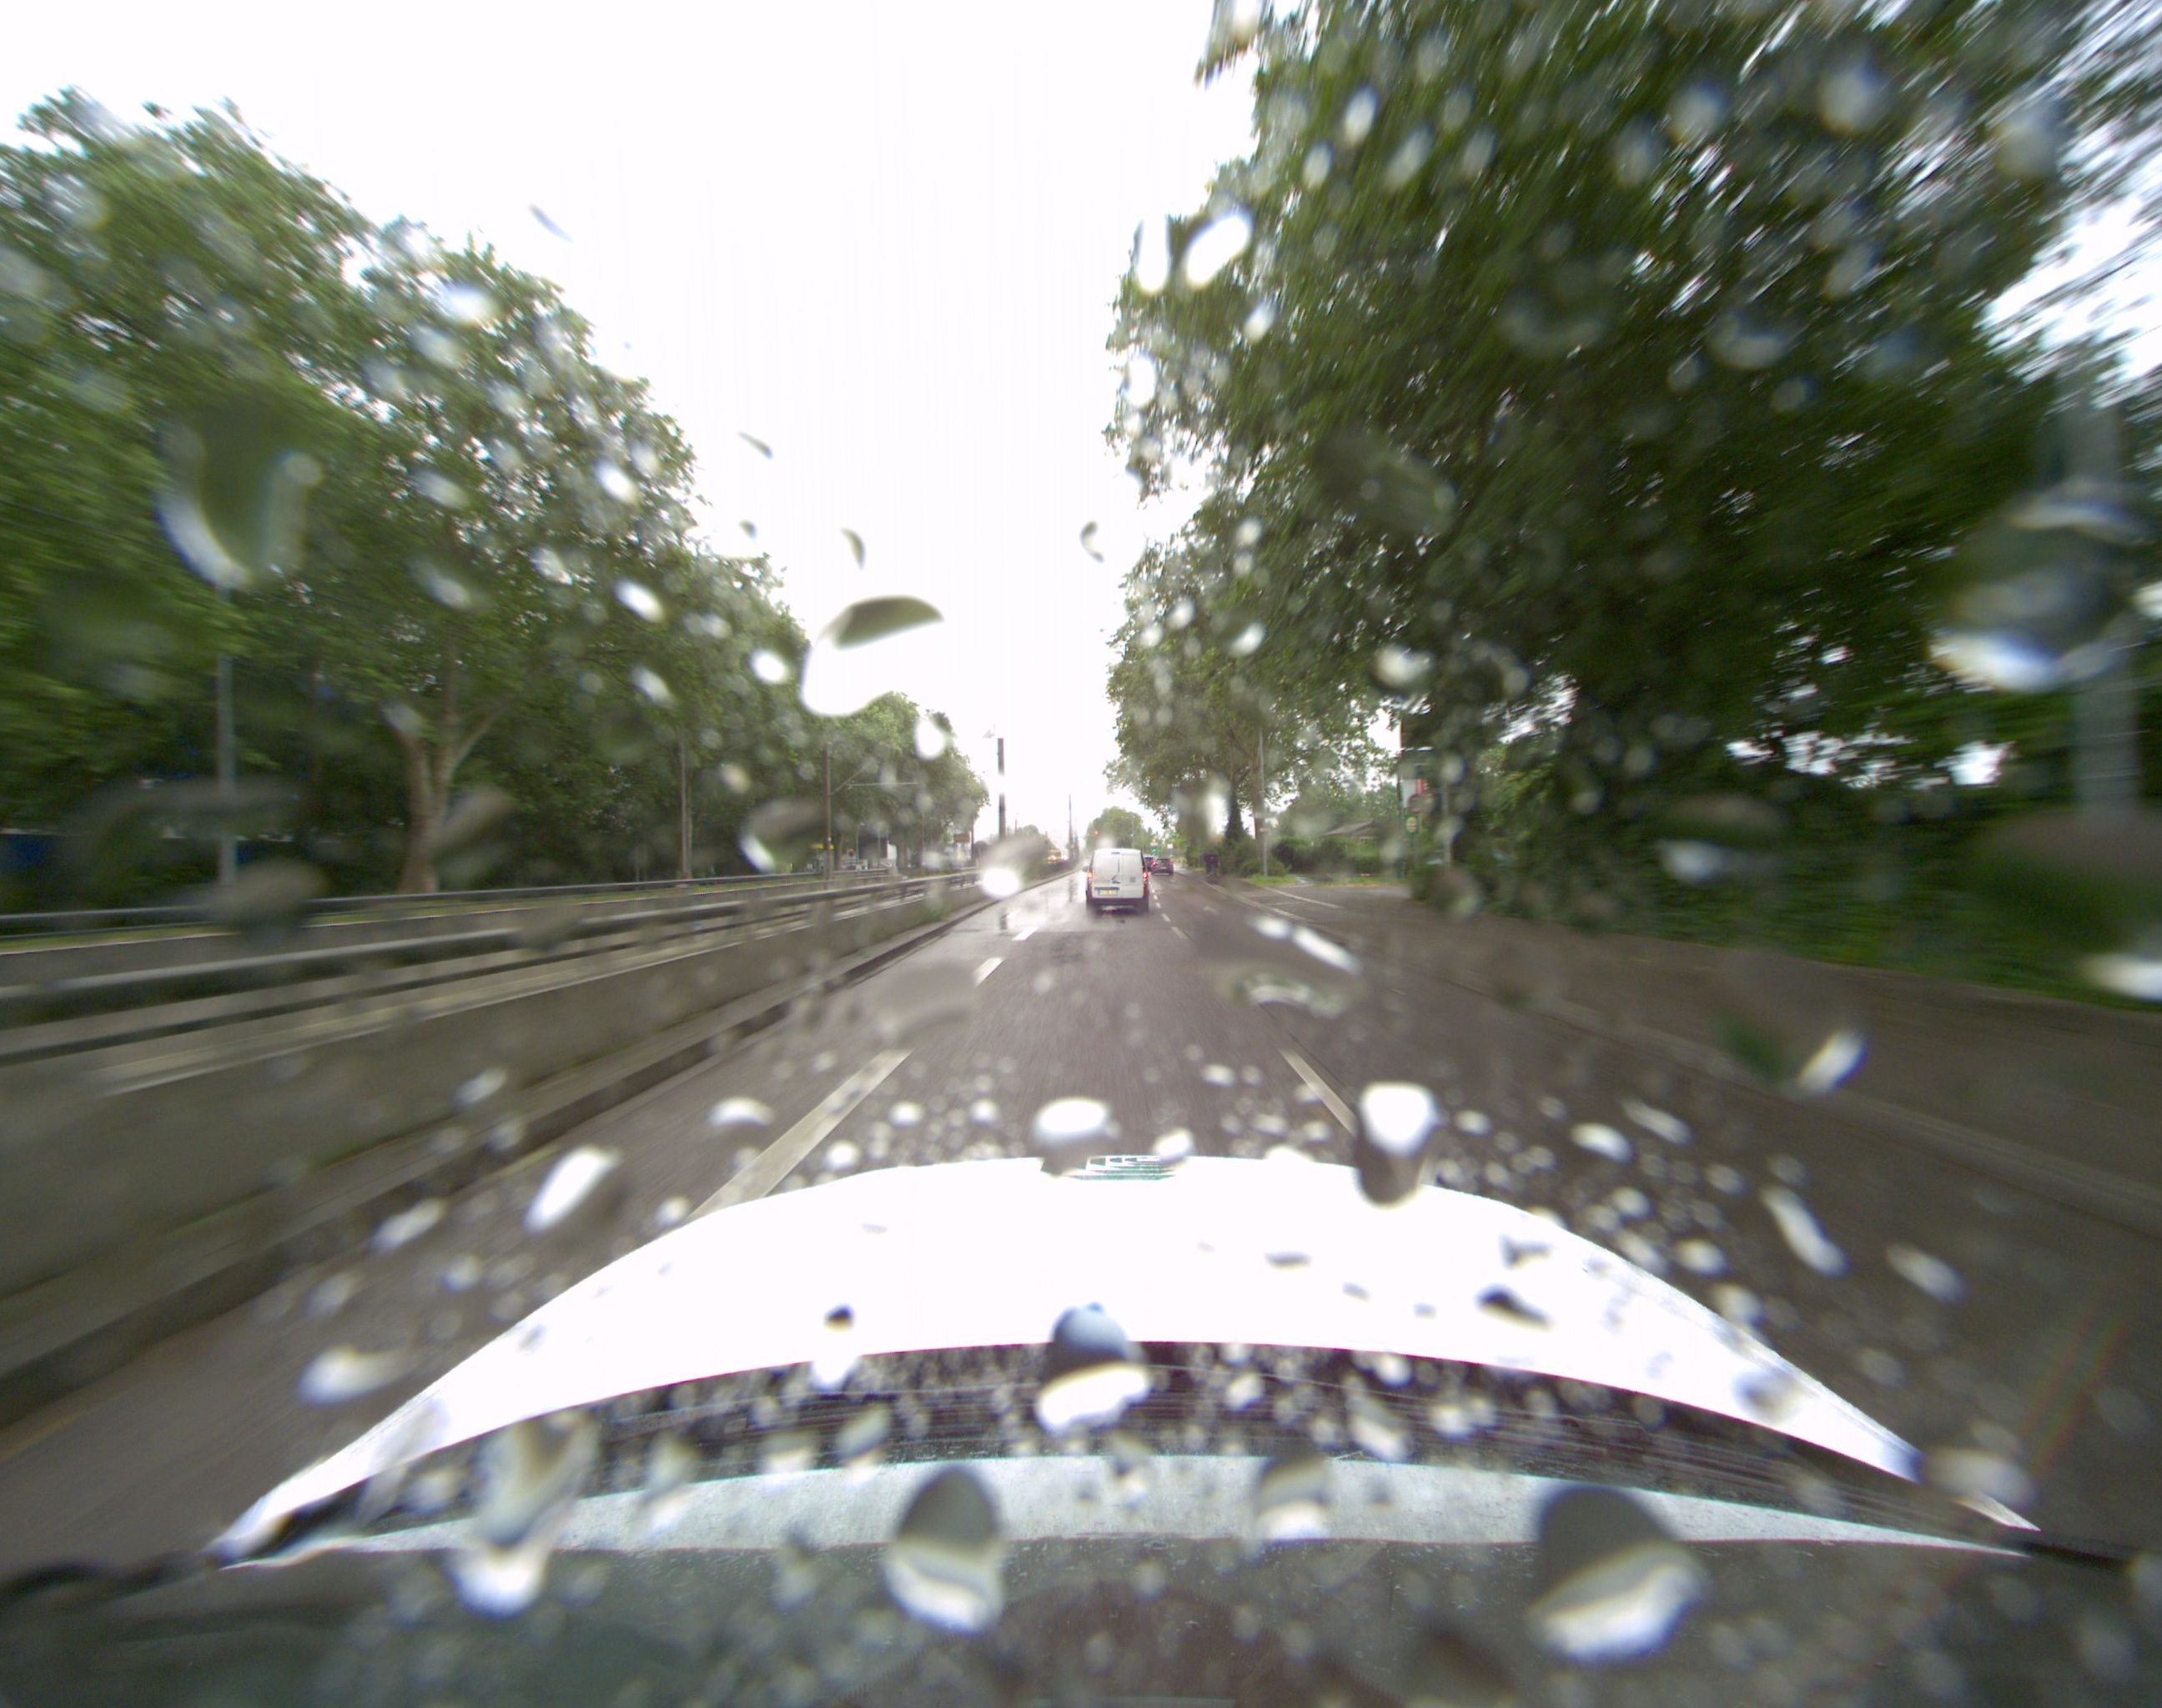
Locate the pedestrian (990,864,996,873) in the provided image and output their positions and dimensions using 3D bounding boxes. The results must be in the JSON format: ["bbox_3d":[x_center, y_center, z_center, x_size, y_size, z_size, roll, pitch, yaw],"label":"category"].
[{"bbox_3d":[-12.334,2.014,113.706,0.640,1.303,0.816,1,-1,6],"label":"pedestrian"}]

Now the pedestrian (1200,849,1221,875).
[{"bbox_3d":[9.369,0.590,59.042,1.235,1.785,1.148,-4,-1,3],"label":"pedestrian"}]

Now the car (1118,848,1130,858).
[{"bbox_3d":[7.882,-0.167,149.886,1.986,1.750,4.001,1,0,1],"label":"car"}]

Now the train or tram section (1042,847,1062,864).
[{"bbox_3d":[-7.186,0.537,209.001,3.757,4.036,27.094,1,0,1],"label":"train or tram section"}]

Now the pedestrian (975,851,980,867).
[{"bbox_3d":[-12.962,0.668,101.864,0.492,2.014,0.581,1,-1,-4],"label":"pedestrian"}]

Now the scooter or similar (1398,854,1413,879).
[{"bbox_3d":[14.668,0.575,36.820,0.455,1.117,1.281,1,-1,15],"label":"scooter or similar"}]

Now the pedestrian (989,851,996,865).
[{"bbox_3d":[-11.752,0.524,108.260,0.618,1.933,0.816,1,-1,6],"label":"pedestrian"}]

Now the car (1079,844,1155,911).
[{"bbox_3d":[0.974,0.650,23.993,2.018,1.775,4.273,1,0,0],"label":"car"}]

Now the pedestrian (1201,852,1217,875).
[{"bbox_3d":[9.018,0.660,57.257,0.943,1.589,1.295,-2,-1,3],"label":"pedestrian"}]

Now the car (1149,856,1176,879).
[{"bbox_3d":[6.576,1.075,66.187,1.985,1.750,4.002,1,0,2],"label":"car"}]

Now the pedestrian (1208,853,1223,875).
[{"bbox_3d":[9.053,0.677,54.872,0.888,1.390,1.017,-3,-1,3],"label":"pedestrian"}]
